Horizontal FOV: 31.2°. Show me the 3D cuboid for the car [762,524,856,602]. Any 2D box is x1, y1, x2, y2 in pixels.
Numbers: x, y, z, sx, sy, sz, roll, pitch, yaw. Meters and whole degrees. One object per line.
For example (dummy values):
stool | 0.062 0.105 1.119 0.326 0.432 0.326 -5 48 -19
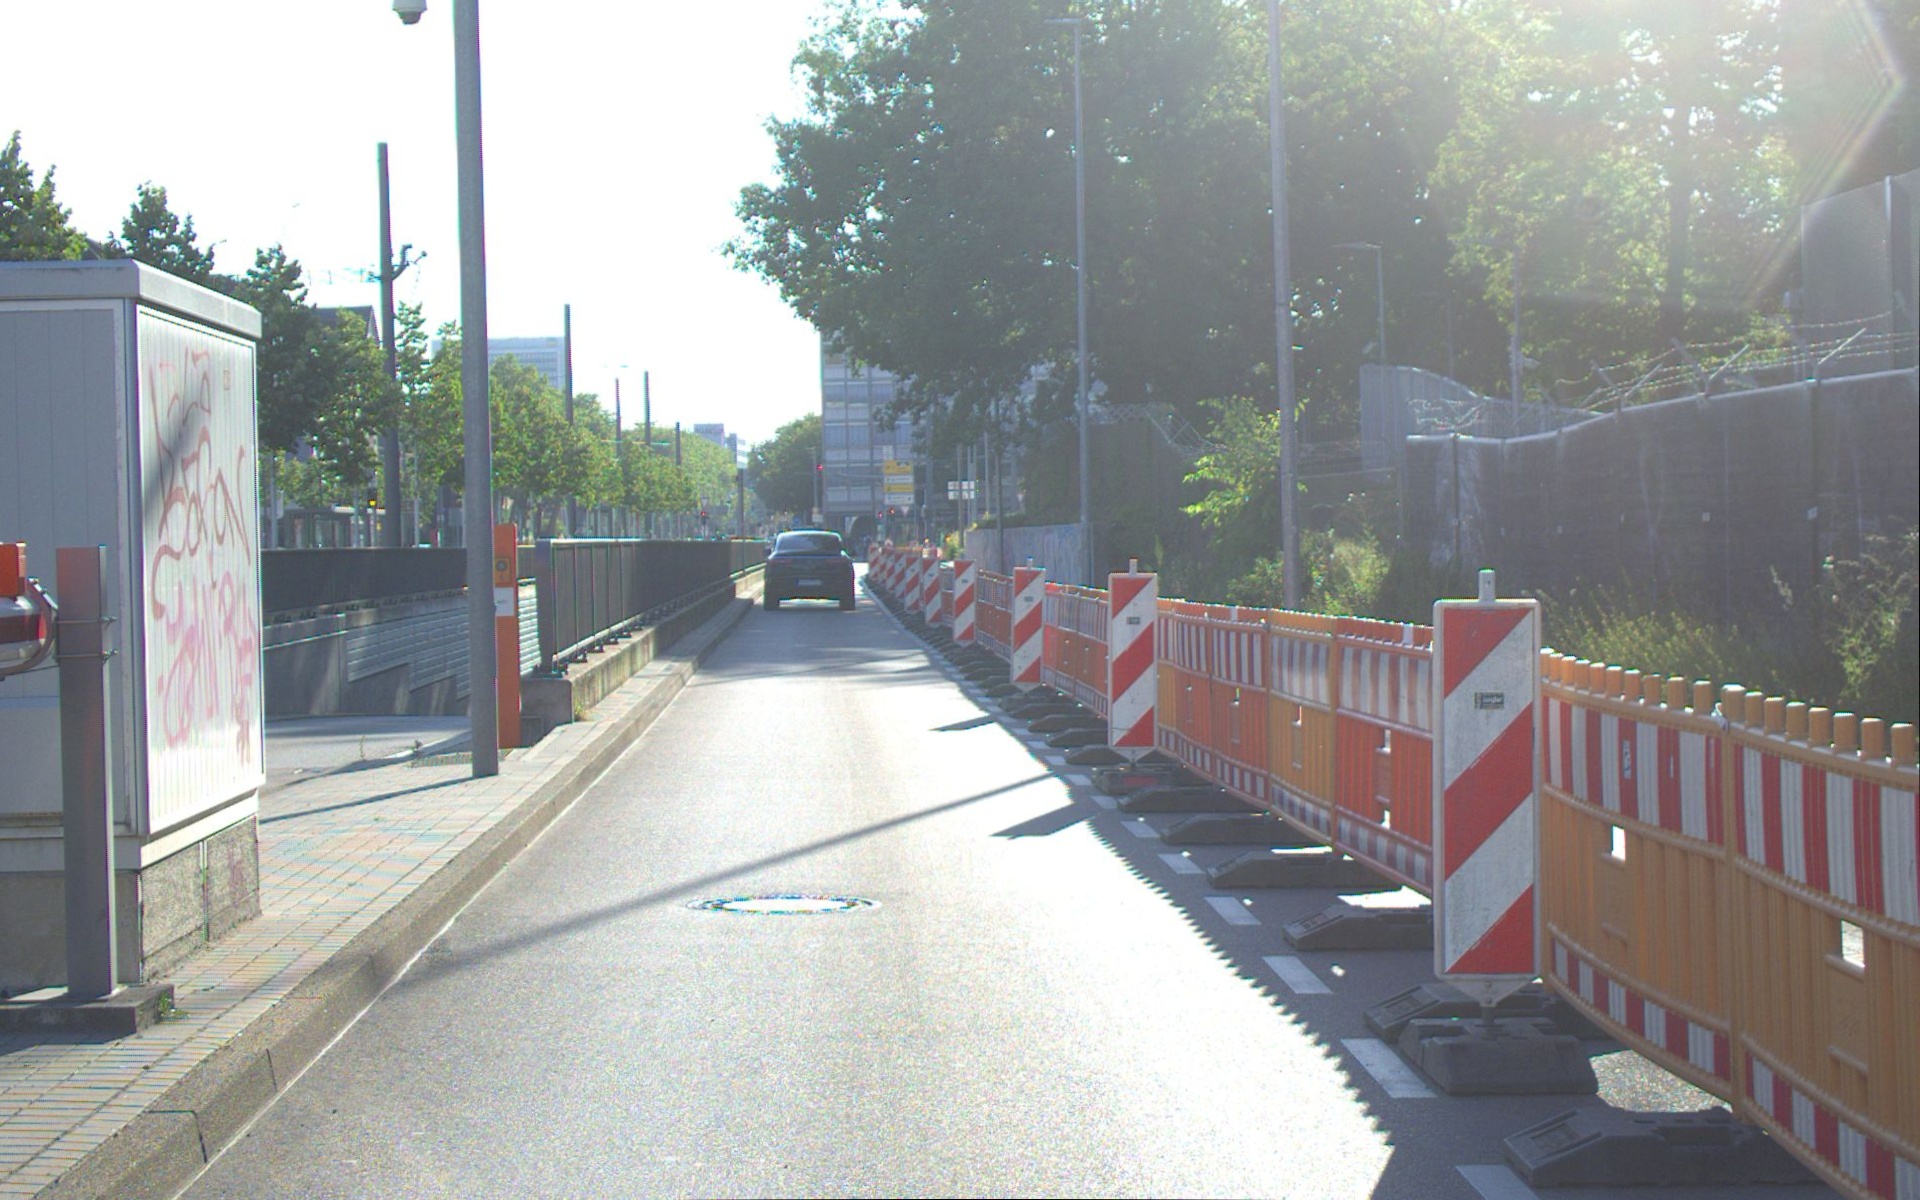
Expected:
car | -3.337 -0.821 76.825 2.005 1.653 4.000 1 1 -2
